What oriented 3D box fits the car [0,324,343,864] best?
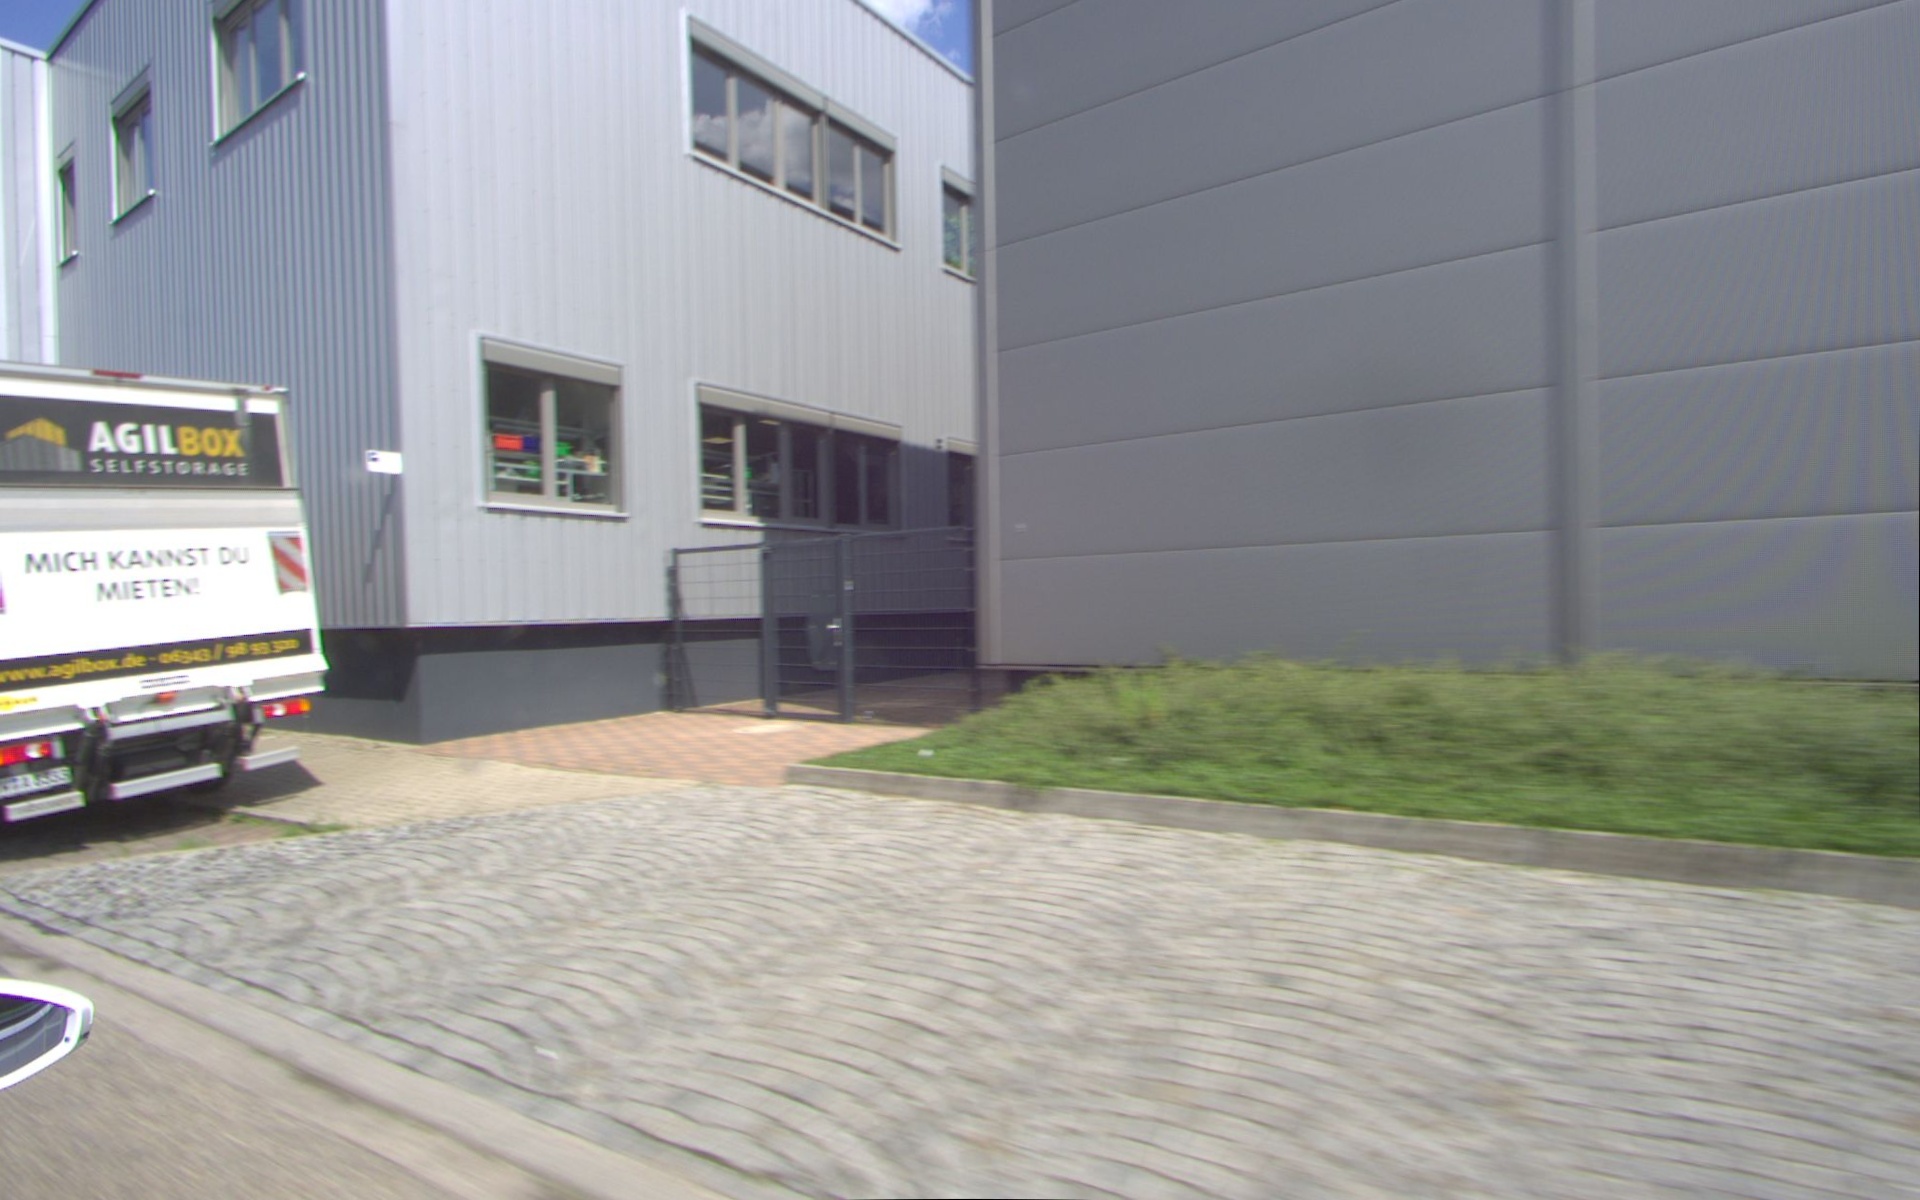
[{"bbox_3d":[-8.511,0.011,8.675,6.545,3.408,2.384,-2,2,29],"label":"car"}]
